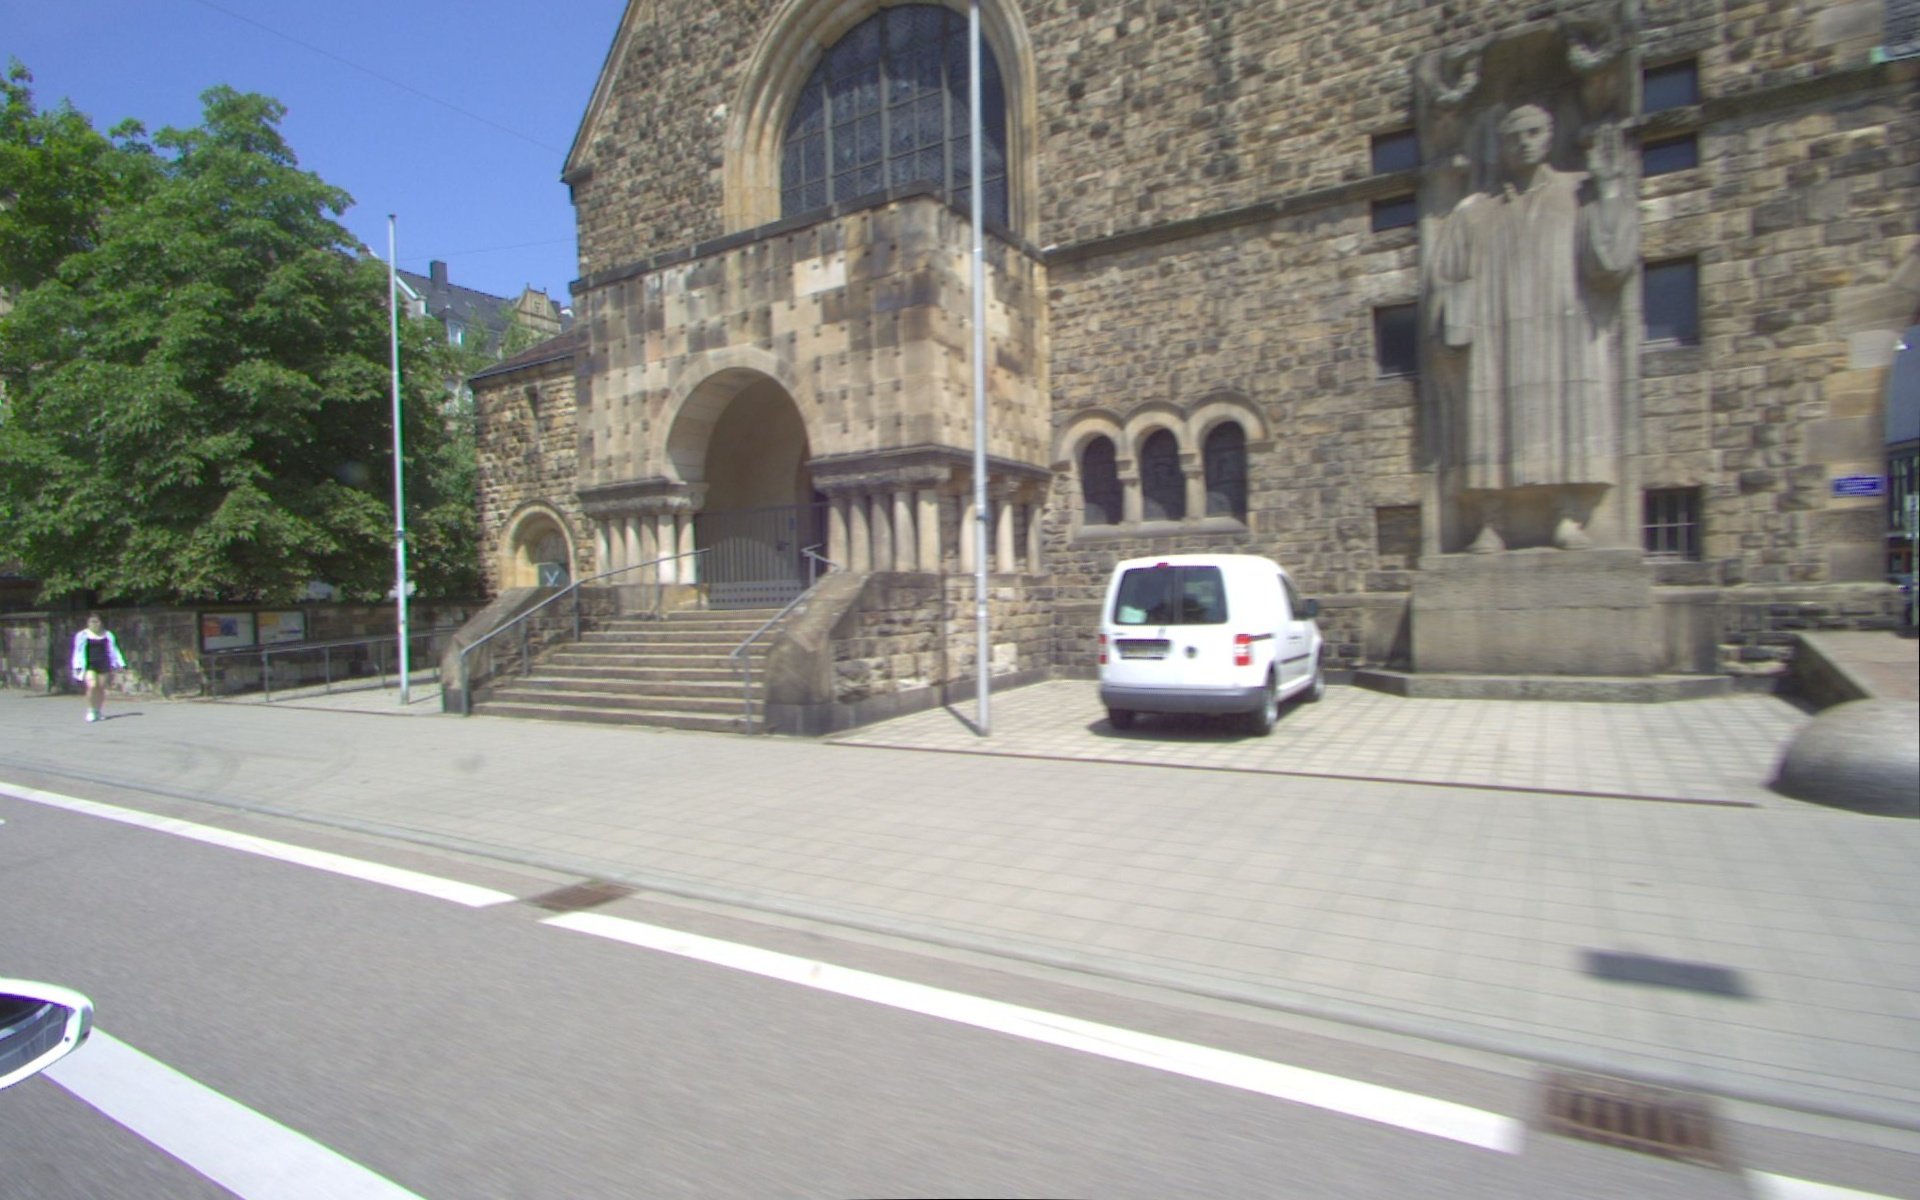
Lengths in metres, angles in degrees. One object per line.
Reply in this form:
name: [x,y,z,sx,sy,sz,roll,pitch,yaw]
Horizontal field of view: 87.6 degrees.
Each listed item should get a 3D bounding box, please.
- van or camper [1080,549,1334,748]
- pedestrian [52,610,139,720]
van or camper: [2.992,0.366,11.454,1.776,1.851,3.979,0,3,30]
pedestrian: [-13.662,1.002,15.826,0.953,1.672,0.792,-1,0,33]
